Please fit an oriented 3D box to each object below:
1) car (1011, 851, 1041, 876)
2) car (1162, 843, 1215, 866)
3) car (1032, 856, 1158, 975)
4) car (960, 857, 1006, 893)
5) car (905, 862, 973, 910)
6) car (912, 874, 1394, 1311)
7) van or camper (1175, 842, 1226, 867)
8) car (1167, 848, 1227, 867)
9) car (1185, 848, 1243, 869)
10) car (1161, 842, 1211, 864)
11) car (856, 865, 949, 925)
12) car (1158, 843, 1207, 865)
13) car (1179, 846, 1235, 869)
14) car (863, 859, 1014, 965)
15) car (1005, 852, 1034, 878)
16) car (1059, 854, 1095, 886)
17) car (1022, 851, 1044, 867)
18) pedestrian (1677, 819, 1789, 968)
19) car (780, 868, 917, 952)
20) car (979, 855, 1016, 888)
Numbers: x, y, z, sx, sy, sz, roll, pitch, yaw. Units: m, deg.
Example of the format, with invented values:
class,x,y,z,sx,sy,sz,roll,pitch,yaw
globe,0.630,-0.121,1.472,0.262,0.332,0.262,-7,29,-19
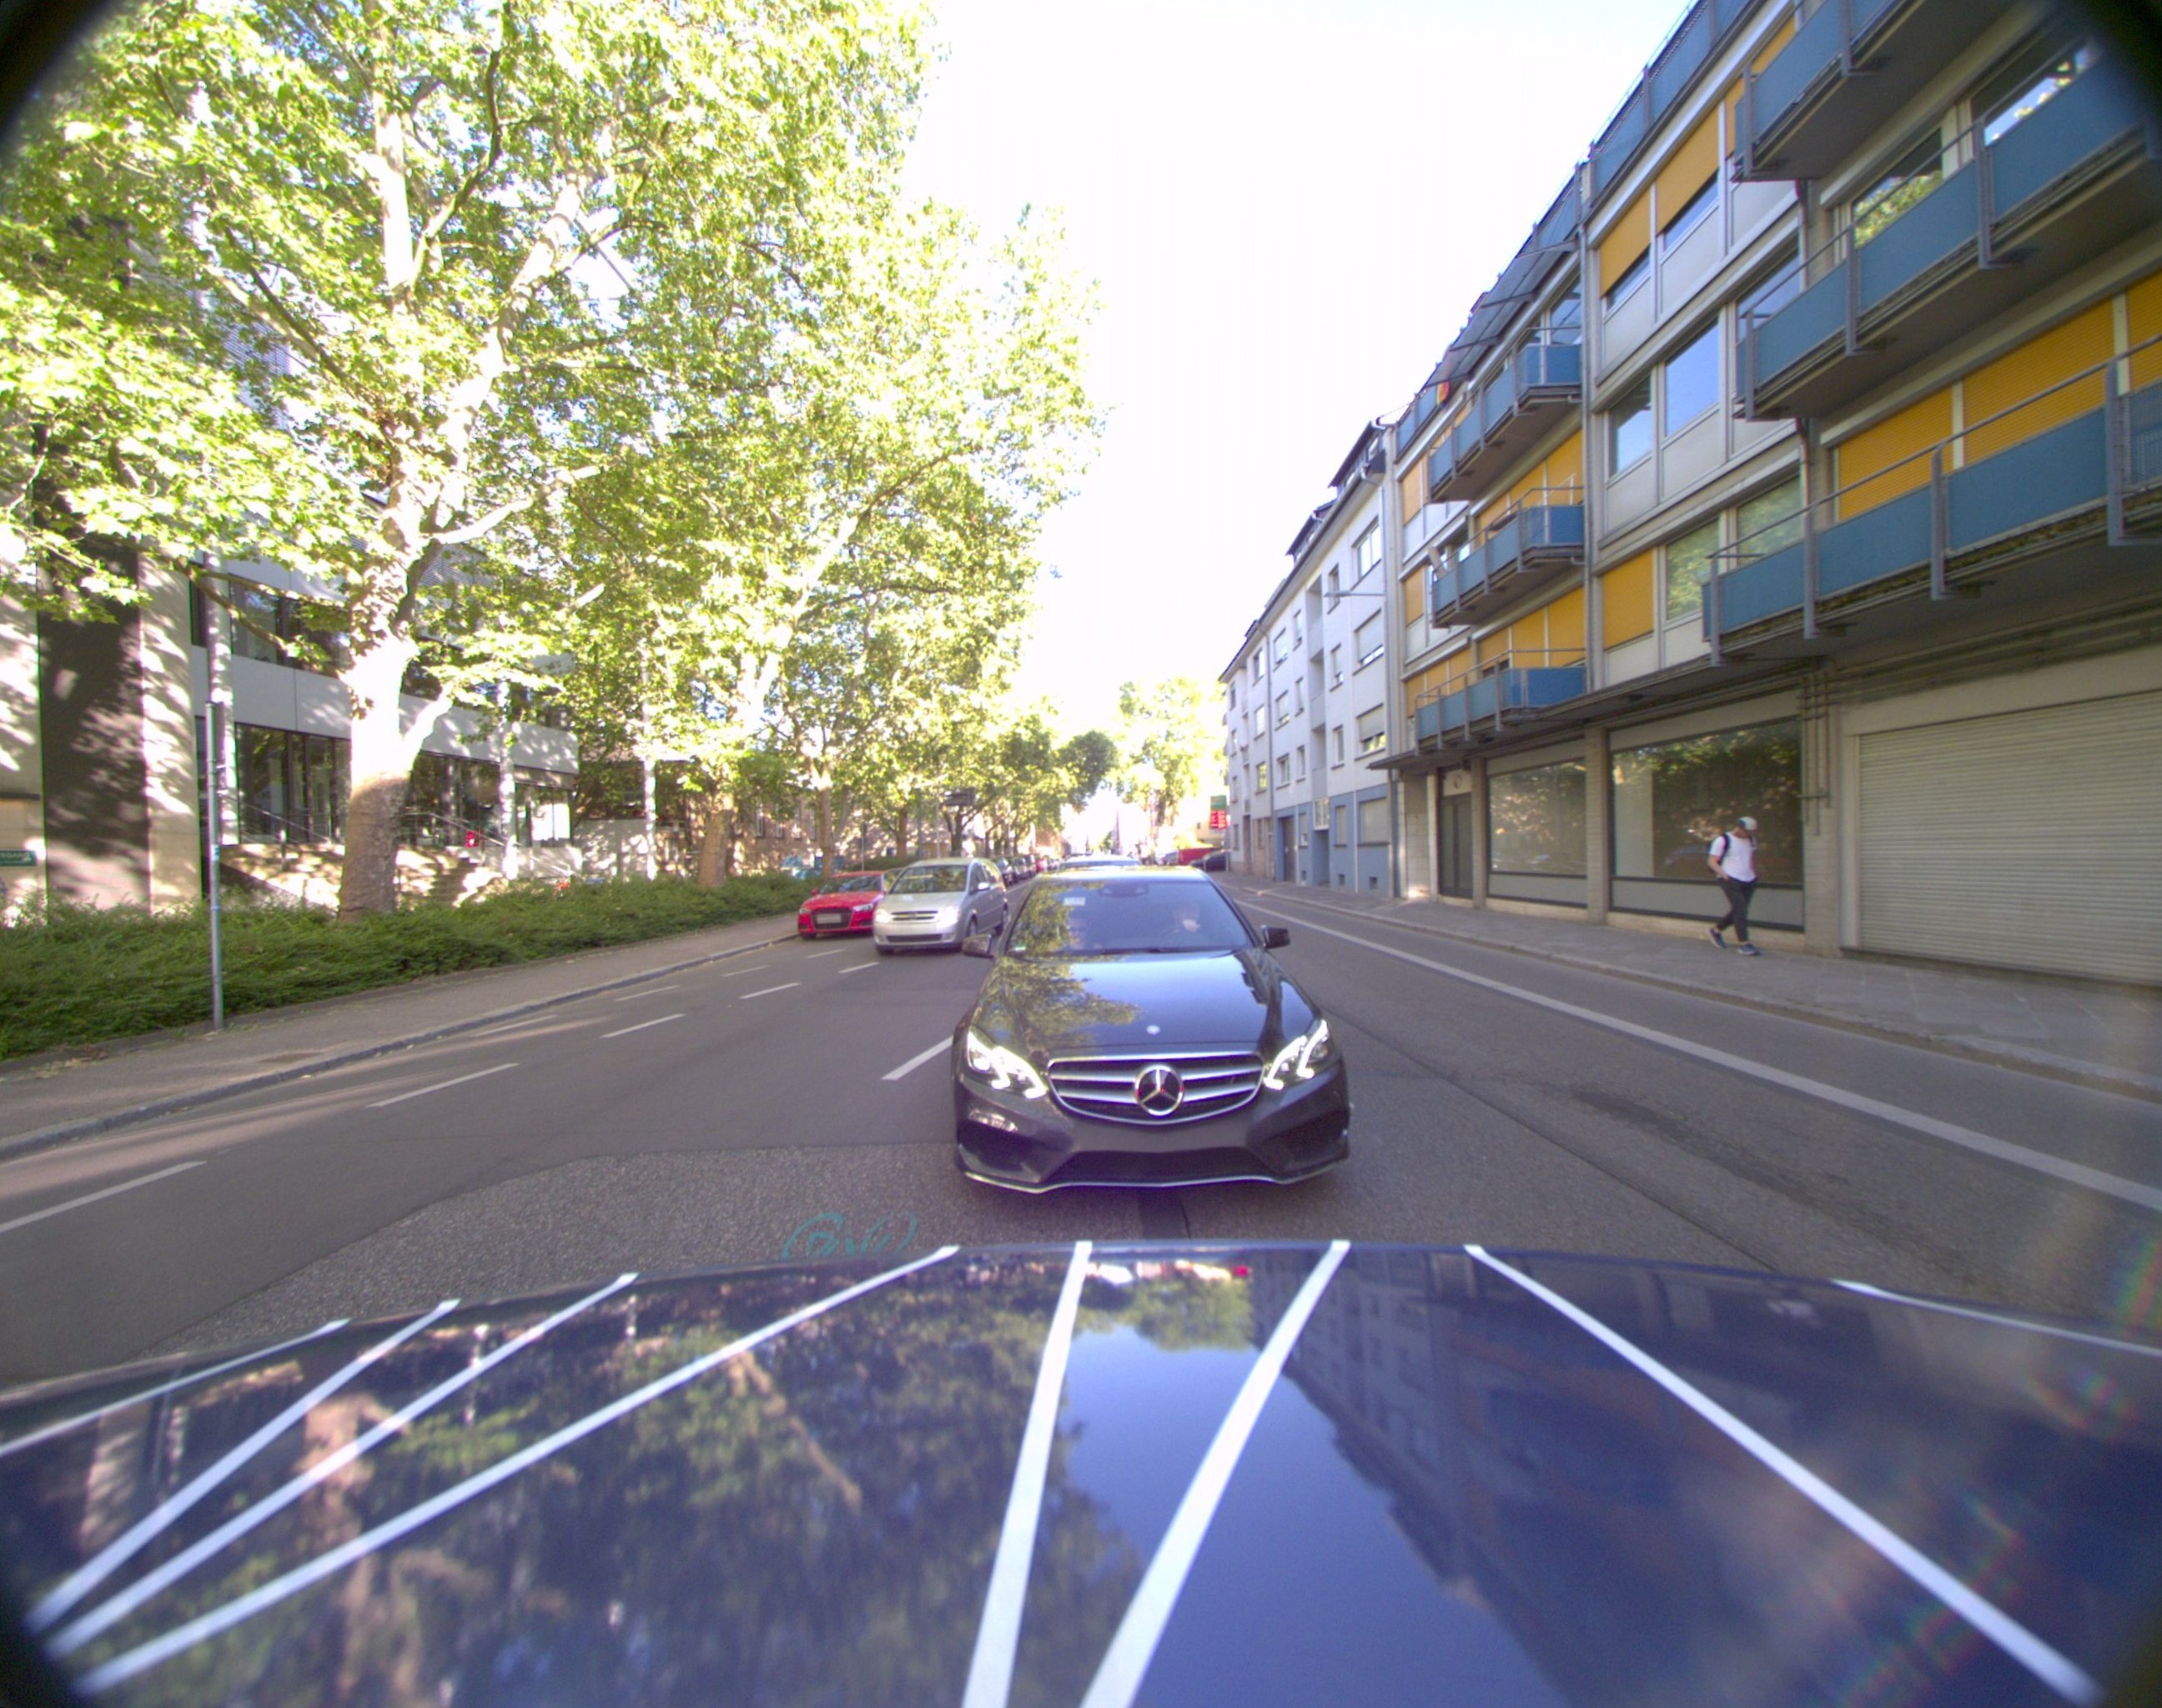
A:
class,x,y,z,sx,sy,sz,roll,pitch,yaw
car,-4.281,0.725,59.490,1.992,1.795,4.376,-2,0,0
car,10.909,0.028,77.336,4.990,2.181,2.000,-2,1,1
car,0.226,0.861,12.863,1.646,1.520,4.619,-4,0,1
car,-4.770,0.983,37.483,1.741,1.622,4.091,-2,0,0
car,-5.110,1.116,27.811,1.681,1.484,3.918,-4,0,0
car,0.264,0.935,4.740,1.740,1.448,3.864,-2,0,0
van or camper,10.055,0.025,64.196,3.997,2.002,2.000,-2,1,0
car,10.156,0.286,66.698,4.990,1.486,2.000,-2,0,1
car,10.310,0.325,58.958,4.146,1.486,2.000,-2,0,1
car,11.029,-0.099,80.188,4.990,2.181,2.000,-2,1,1
car,-5.192,1.141,22.609,1.741,1.444,4.091,-4,0,0
car,11.033,-0.005,82.819,4.990,2.181,2.000,-2,1,1
car,10.133,0.271,61.289,4.146,1.681,2.000,-2,0,1
car,-2.439,0.942,13.977,1.705,1.593,3.860,-2,0,5
car,-4.360,0.759,54.536,1.741,1.785,3.895,-2,0,0
car,-0.173,0.753,37.486,1.648,1.473,3.976,-1,0,1
car,-4.388,0.441,70.442,1.741,1.469,4.091,-2,0,0
pedestrian,8.294,0.484,9.697,0.601,1.790,0.879,-3,1,1
car,-5.212,1.174,17.623,1.830,1.519,4.142,-4,0,0
car,-4.594,0.944,42.318,1.634,1.677,3.907,-2,0,0
